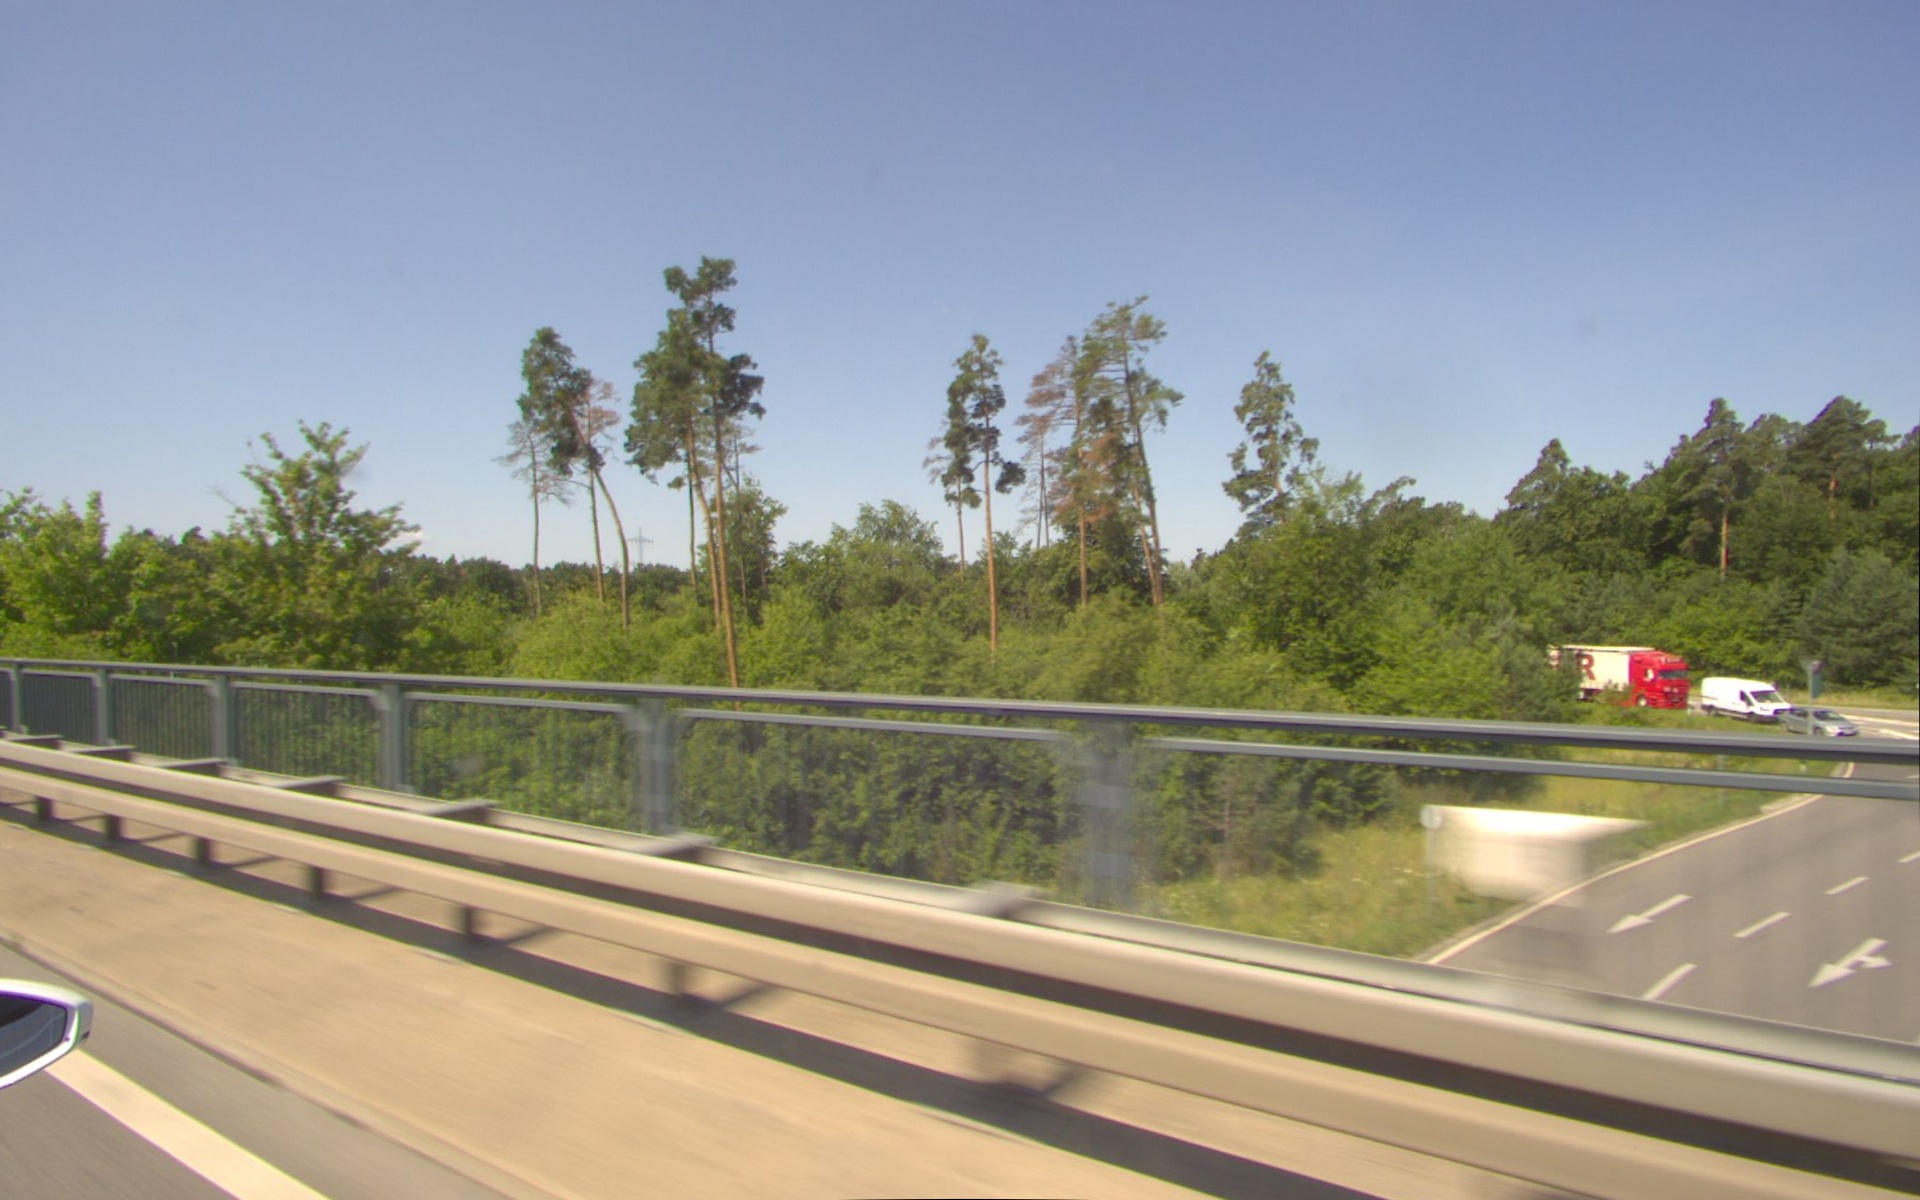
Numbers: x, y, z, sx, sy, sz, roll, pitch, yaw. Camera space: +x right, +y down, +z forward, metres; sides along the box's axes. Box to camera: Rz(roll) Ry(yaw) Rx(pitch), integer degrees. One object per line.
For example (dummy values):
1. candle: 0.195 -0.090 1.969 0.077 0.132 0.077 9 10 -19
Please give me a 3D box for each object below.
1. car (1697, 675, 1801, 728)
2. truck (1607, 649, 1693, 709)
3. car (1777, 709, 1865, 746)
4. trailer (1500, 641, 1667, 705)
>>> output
1. car: 48.529 6.183 61.755 1.961 2.567 5.438 3 0 -1
2. truck: 47.711 5.395 69.360 2.189 3.705 4.417 3 1 -11
3. car: 47.426 6.985 55.229 1.732 1.463 3.778 3 0 5
4. trailer: 46.505 5.305 75.523 2.219 3.705 13.146 3 0 -11
